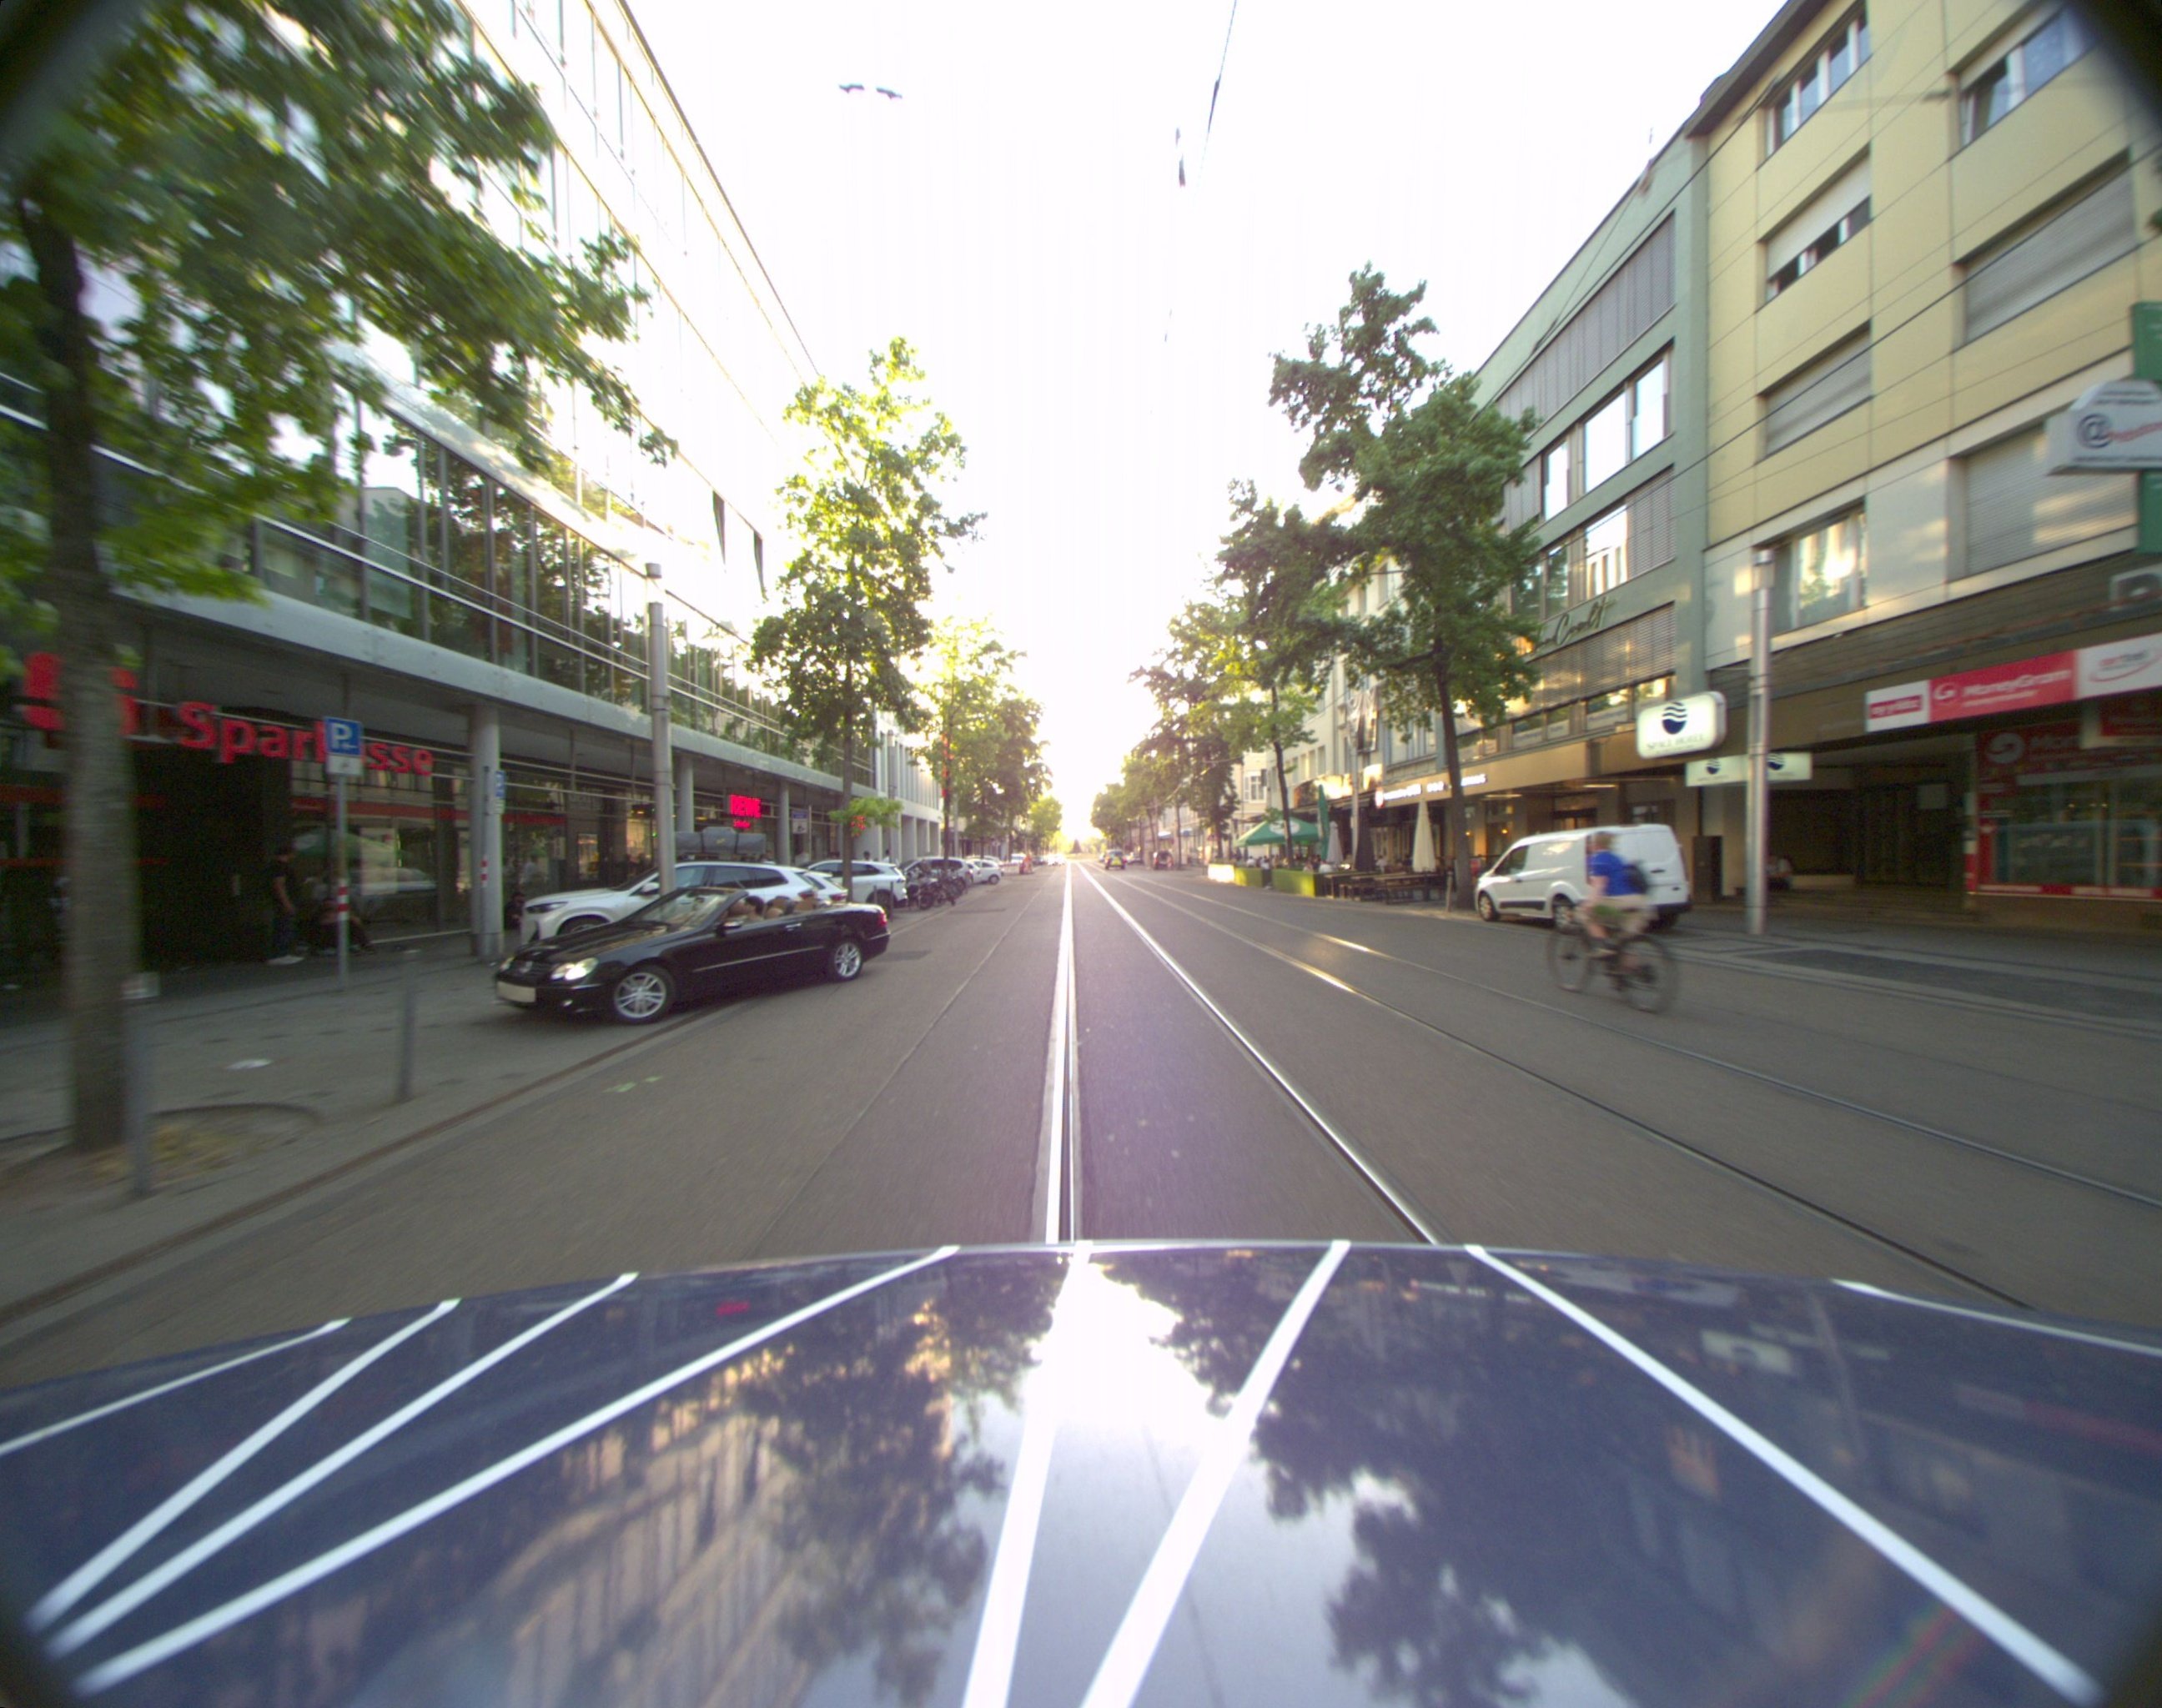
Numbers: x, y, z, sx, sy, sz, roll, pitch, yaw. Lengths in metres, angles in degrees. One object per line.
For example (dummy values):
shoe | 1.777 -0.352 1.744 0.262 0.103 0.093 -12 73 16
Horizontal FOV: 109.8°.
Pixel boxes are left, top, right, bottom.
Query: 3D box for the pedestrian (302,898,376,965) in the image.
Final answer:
pedestrian | -12.085 1.251 12.394 0.628 1.030 0.558 0 1 -9

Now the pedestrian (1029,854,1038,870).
pedestrian | -4.304 0.715 68.256 0.650 1.451 0.649 -1 1 -17

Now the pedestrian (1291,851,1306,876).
pedestrian | 13.083 0.571 45.721 0.650 1.451 0.650 -1 1 -2

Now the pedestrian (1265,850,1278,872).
pedestrian | 12.453 0.441 49.757 0.650 1.451 0.650 -1 1 -2

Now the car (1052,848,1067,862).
car | -3.125 0.089 109.943 1.998 2.002 4.000 -1 0 0

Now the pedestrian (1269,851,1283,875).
pedestrian | 12.245 0.574 47.748 0.650 1.451 0.650 -1 1 -2

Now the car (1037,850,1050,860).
car | -6.110 0.146 124.322 1.793 1.499 3.999 -2 1 0

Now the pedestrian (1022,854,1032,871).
pedestrian | -4.666 0.758 65.634 0.650 1.451 0.649 -1 1 -17

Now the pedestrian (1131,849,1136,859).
pedestrian | 7.342 0.020 106.393 0.650 1.451 0.650 -1 1 -2

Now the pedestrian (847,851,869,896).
pedestrian | -8.432 0.719 28.701 0.618 1.681 0.628 0 1 0

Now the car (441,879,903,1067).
car | -4.419 1.150 9.115 1.795 1.400 4.573 -2 0 28

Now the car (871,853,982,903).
car | -6.999 1.058 34.659 4.474 1.869 1.795 -4 1 -37

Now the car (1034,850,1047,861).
car | -6.276 0.236 117.304 1.793 1.499 3.999 -2 1 0

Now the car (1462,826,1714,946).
car | 9.225 0.511 14.359 1.830 1.811 4.329 -4 0 1

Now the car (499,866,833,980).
car | -6.819 1.038 12.870 4.646 1.619 1.914 1 -2 -32

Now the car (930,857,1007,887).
car | -6.666 1.057 45.024 4.005 1.501 1.861 -4 1 -30

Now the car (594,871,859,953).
car | -7.128 1.090 15.569 4.644 1.431 1.914 1 0 -28

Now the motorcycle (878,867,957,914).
motorcycle | -5.032 1.108 23.523 1.153 1.346 2.115 1 0 41

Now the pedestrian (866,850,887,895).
pedestrian | -7.815 0.695 28.992 0.618 1.681 0.628 0 1 0

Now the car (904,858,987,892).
car | -7.405 1.125 41.473 4.005 1.501 1.796 -4 1 -30

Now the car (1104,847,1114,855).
car | 5.392 -0.498 147.942 1.799 1.501 4.000 -1 0 0

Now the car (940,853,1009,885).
car | -6.980 0.961 49.734 4.004 1.776 1.861 -4 1 -24

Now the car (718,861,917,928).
car | -6.948 0.998 20.202 4.646 1.578 1.913 1 0 -35

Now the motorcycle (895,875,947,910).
motorcycle | -5.268 1.260 25.013 1.574 1.093 0.627 1 1 -25

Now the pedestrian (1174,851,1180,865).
pedestrian | 9.974 0.421 78.829 0.490 1.451 0.543 -1 1 -2

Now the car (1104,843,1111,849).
car | 6.763 -2.018 195.555 1.799 1.501 4.000 -1 0 0

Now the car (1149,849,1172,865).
car | 7.923 0.291 76.049 1.799 1.501 4.000 -1 0 0

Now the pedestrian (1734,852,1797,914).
pedestrian | 13.575 0.564 15.089 0.650 1.168 0.650 -2 1 -5

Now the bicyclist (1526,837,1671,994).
bicyclist | 4.997 0.564 7.399 0.760 1.406 0.897 -3 0 3

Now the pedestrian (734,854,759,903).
pedestrian | -11.716 0.851 26.611 0.558 1.681 0.628 0 1 0

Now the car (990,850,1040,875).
car | -5.399 0.708 62.584 1.860 1.776 4.007 -3 1 34

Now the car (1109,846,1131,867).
car | 3.922 0.255 77.401 1.998 2.002 4.000 -1 0 0
